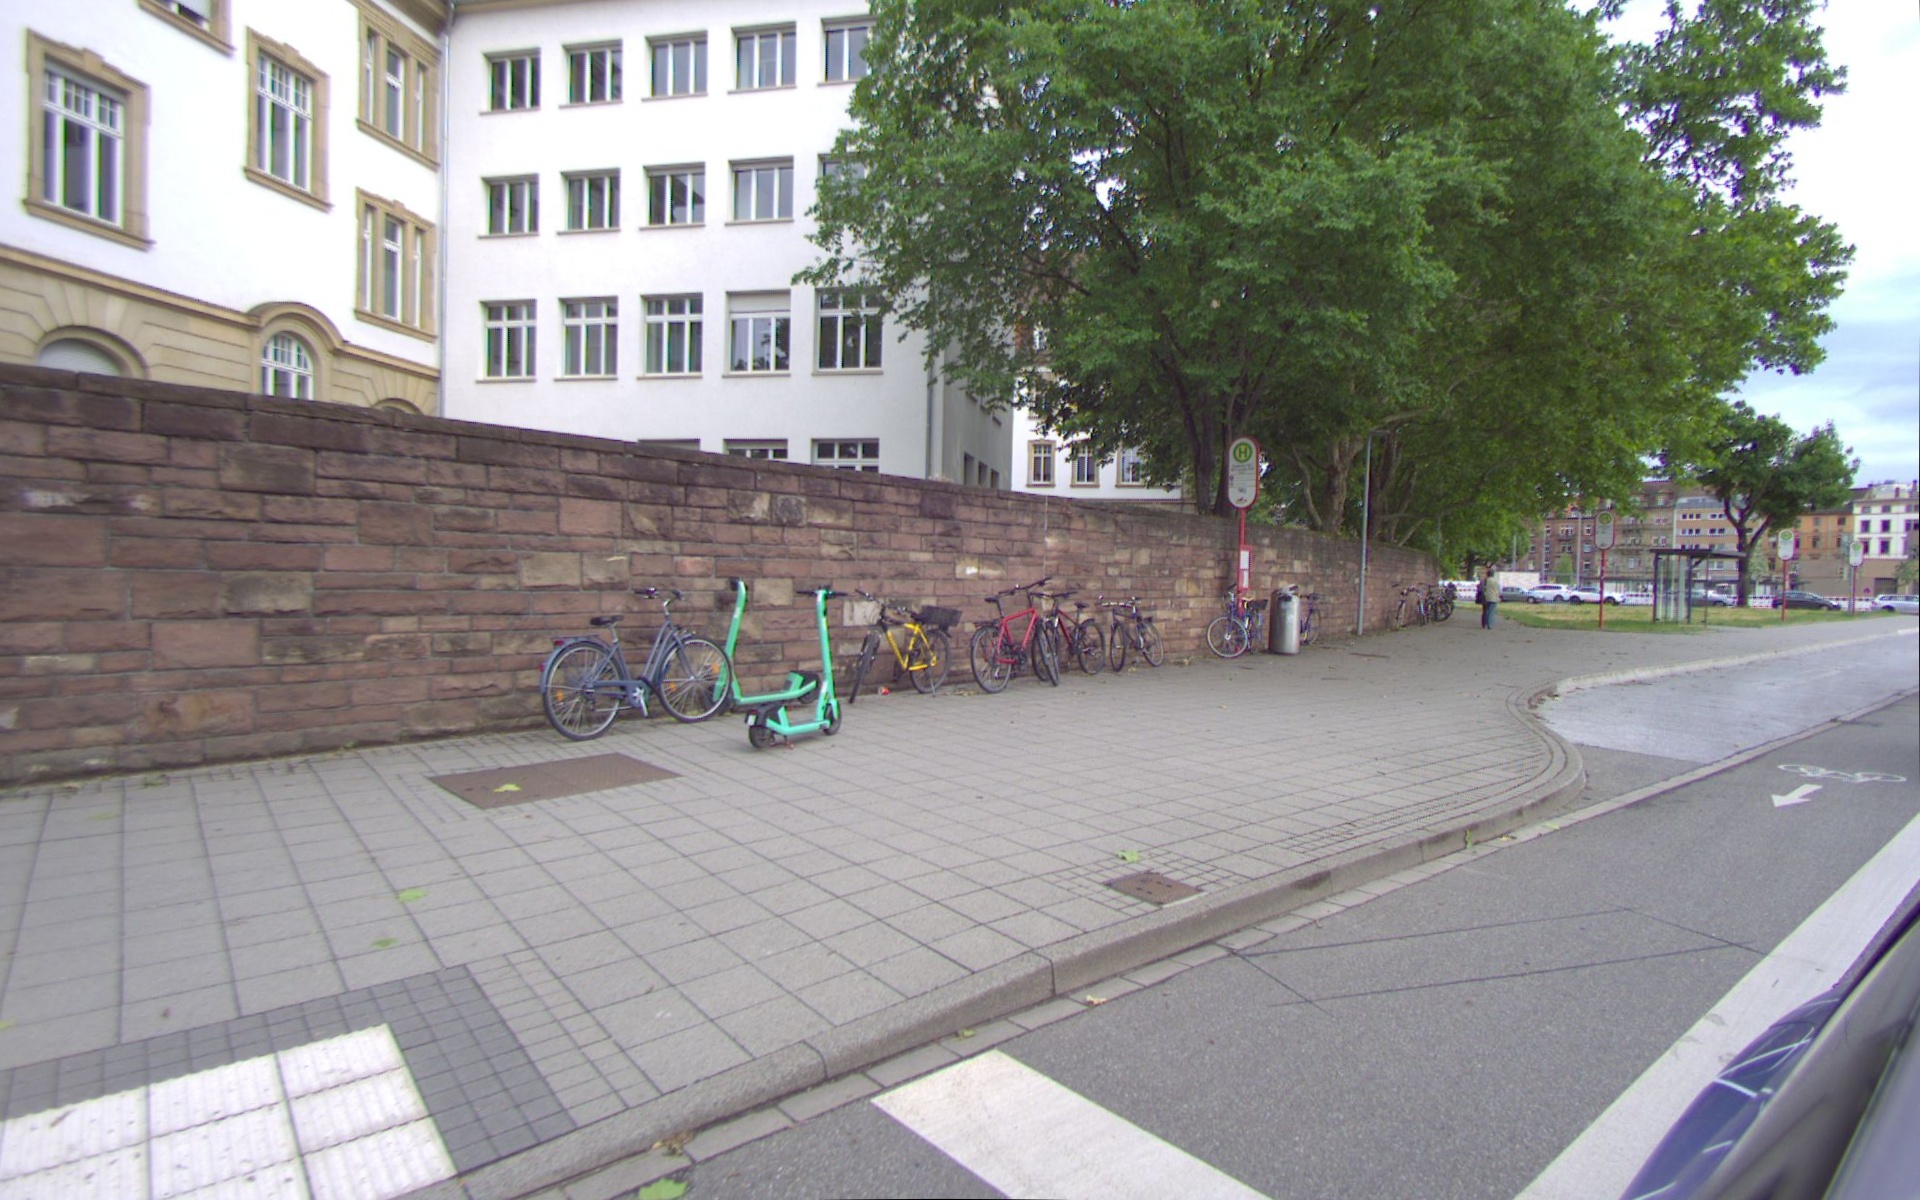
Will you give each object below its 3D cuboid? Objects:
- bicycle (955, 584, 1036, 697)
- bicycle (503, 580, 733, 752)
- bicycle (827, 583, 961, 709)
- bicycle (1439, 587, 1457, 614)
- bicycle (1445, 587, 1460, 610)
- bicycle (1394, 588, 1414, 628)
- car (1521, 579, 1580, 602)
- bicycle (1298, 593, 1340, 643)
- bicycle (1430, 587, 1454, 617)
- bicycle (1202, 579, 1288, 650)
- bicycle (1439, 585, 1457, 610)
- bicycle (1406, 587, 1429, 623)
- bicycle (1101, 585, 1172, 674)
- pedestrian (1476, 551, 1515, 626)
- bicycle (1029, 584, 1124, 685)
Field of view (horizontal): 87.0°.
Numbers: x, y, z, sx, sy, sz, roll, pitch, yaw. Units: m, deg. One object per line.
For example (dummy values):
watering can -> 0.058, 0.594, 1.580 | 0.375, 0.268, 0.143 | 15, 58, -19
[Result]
bicycle -> 0.430, 0.403, 11.268 | 0.381, 1.158, 1.930 | 0, 0, 18
bicycle -> -2.528, 0.435, 7.740 | 0.383, 1.158, 1.922 | 0, 0, 29
bicycle -> -0.613, 0.412, 10.221 | 0.383, 1.158, 1.922 | 0, 0, 29
bicycle -> 18.221, 0.016, 37.760 | 0.563, 0.951, 1.752 | 2, 2, 26
bicycle -> 20.874, -0.063, 42.885 | 0.555, 0.951, 1.342 | 2, 2, 26
bicycle -> 11.244, 0.176, 25.612 | 0.361, 0.951, 1.626 | 2, 2, 27
car -> 52.876, -0.868, 90.647 | 1.967, 2.039, 4.274 | 0, 0, -44
bicycle -> 6.892, 0.329, 19.373 | 0.290, 0.896, 1.590 | 2, 2, 36
bicycle -> 15.933, 0.053, 33.426 | 0.648, 0.951, 1.939 | 2, 2, 27
bicycle -> 4.713, 0.209, 16.637 | 0.476, 1.089, 2.051 | 3, 2, 42
bicycle -> 22.500, -0.118, 46.647 | 0.686, 1.098, 1.639 | 2, 2, 26
bicycle -> 12.987, 0.121, 28.705 | 0.477, 0.951, 1.882 | 2, 2, 27
bicycle -> 2.470, 0.378, 14.043 | 0.337, 1.158, 1.658 | 0, 0, 34
pedestrian -> 15.031, -0.339, 28.423 | 0.778, 2.037, 0.879 | 5, 4, 32
bicycle -> 1.472, 0.392, 12.492 | 0.337, 1.158, 1.918 | 0, 0, 33
